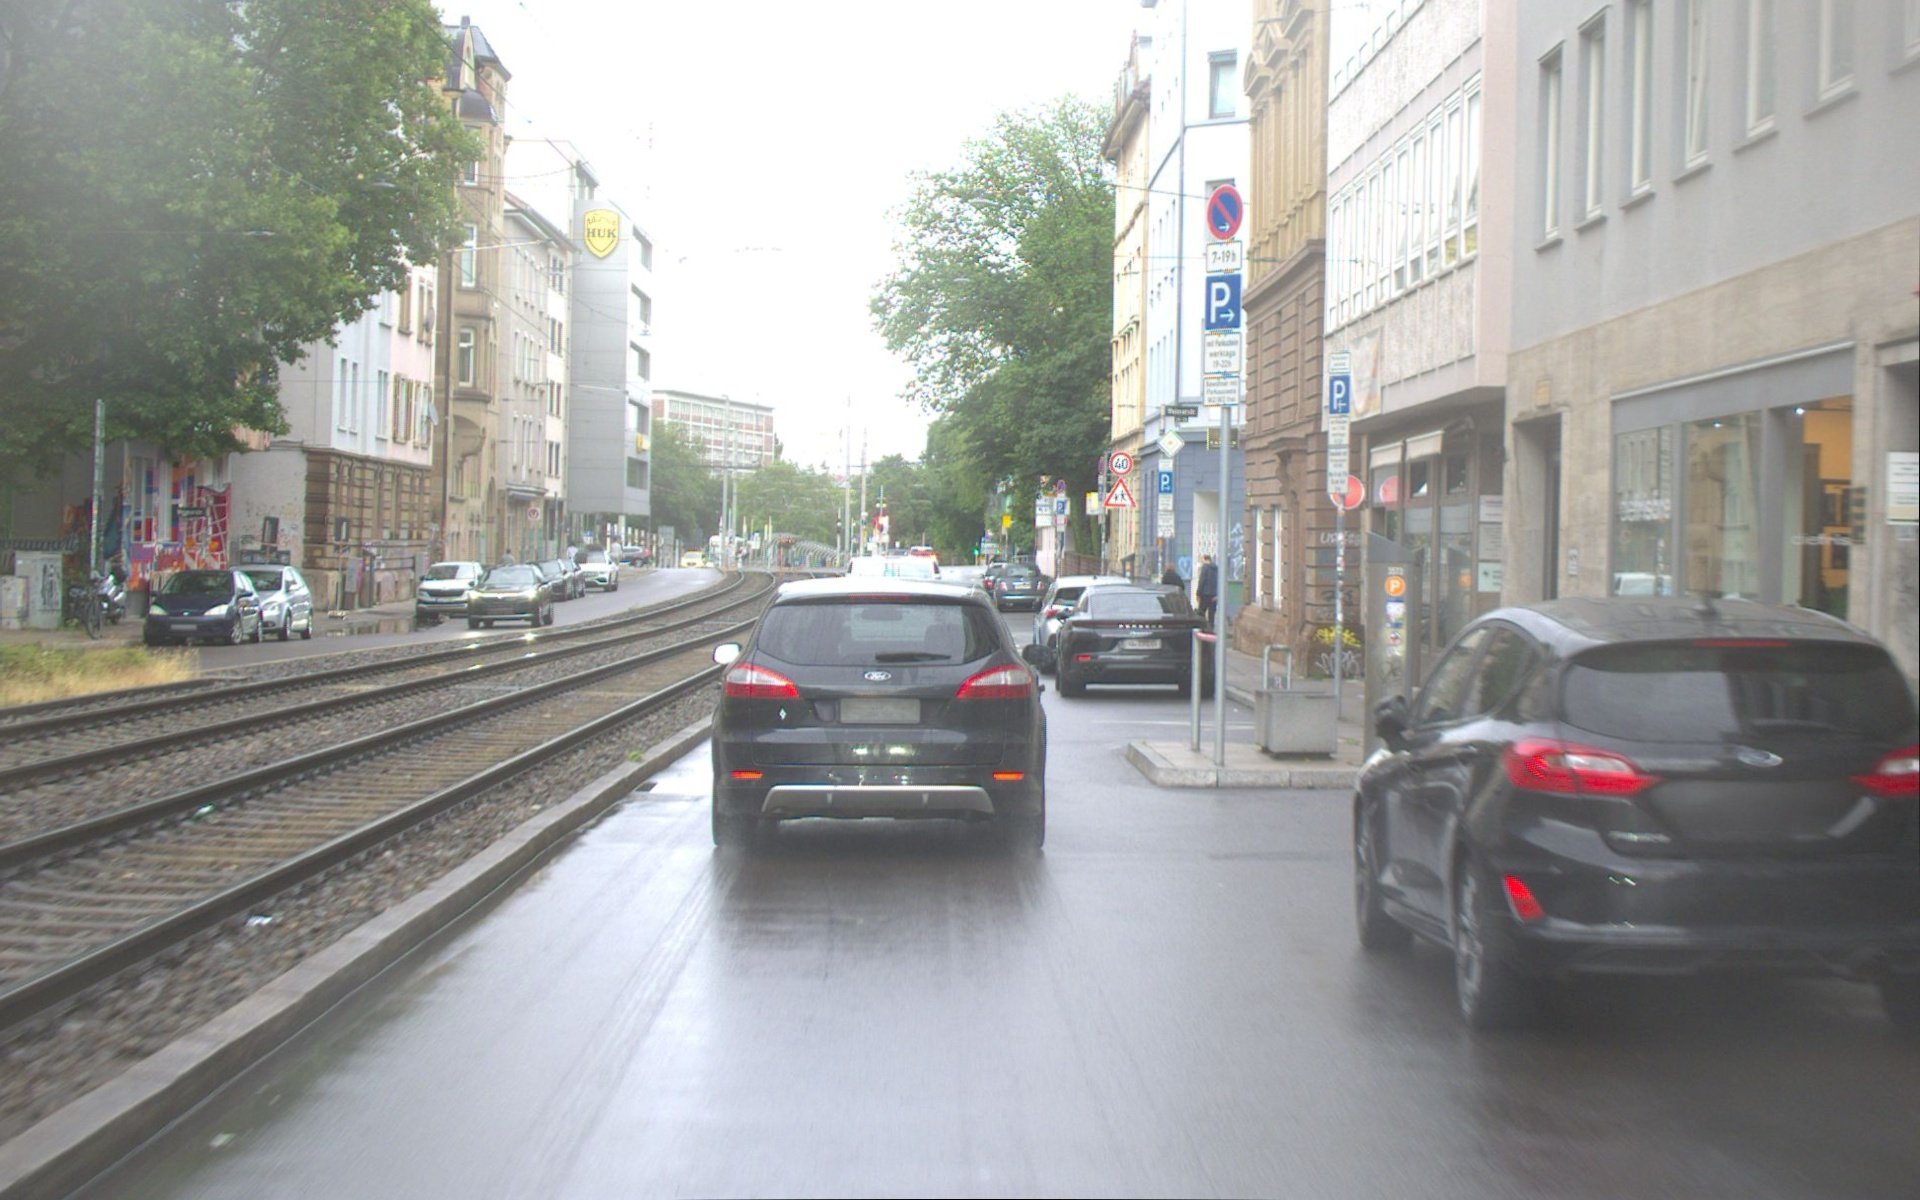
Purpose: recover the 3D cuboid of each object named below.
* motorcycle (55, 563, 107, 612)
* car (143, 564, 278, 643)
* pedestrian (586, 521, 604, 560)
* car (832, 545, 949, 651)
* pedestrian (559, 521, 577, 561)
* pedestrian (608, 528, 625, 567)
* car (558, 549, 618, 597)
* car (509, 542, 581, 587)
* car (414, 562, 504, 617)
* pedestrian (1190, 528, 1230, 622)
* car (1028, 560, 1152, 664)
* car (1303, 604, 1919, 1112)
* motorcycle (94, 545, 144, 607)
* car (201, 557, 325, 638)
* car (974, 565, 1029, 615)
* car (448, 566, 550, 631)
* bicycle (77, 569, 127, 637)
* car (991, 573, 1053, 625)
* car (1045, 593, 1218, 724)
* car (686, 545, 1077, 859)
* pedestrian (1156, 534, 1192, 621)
[{"bbox_3d":[-19.110,-0.279,74.794,0.639,1.029,2.120,2,1,-2],"label":"motorcycle"},{"bbox_3d":[-14.518,0.042,66.758,1.744,1.464,4.220,0,1,-1],"label":"car"},{"bbox_3d":[-17.197,-2.804,162.085,0.744,1.847,0.839,1,0,-1],"label":"pedestrian"},{"bbox_3d":[-1.209,-0.041,61.445,1.993,1.810,4.271,1,0,0],"label":"car"},{"bbox_3d":[-18.452,-2.763,161.976,0.744,1.847,0.839,1,0,-1],"label":"pedestrian"},{"bbox_3d":[-16.776,-2.566,168.090,0.744,1.847,0.839,1,0,-1],"label":"pedestrian"},{"bbox_3d":[-15.037,-1.100,139.172,1.993,1.833,5.071,2,1,-2],"label":"car"},{"bbox_3d":[-14.711,-1.272,122.070,1.993,1.514,4.676,2,1,-1],"label":"car"},{"bbox_3d":[-14.586,-0.325,100.235,1.993,1.514,4.435,2,1,-1],"label":"car"},{"bbox_3d":[5.388,-0.542,74.148,0.736,2.007,0.821,1,1,-1],"label":"pedestrian"},{"bbox_3d":[2.077,0.165,55.813,1.746,1.518,4.355,1,1,-1],"label":"car"},{"bbox_3d":[2.520,0.825,13.049,1.993,1.588,4.271,1,0,0],"label":"car"},{"bbox_3d":[-18.940,-0.546,77.465,0.639,1.374,2.120,2,1,-2],"label":"motorcycle"},{"bbox_3d":[-14.496,-0.075,71.702,1.721,1.565,4.220,2,1,-1],"label":"car"},{"bbox_3d":[1.344,-0.343,112.291,1.642,1.510,4.039,1,1,-1],"label":"car"},{"bbox_3d":[-11.687,-0.061,87.341,1.993,1.514,4.444,2,1,-1],"label":"car"},{"bbox_3d":[-15.939,0.050,63.917,0.590,1.222,2.404,2,0,-8],"label":"bicycle"},{"bbox_3d":[1.923,-0.047,107.606,1.738,1.484,4.001,1,1,-1],"label":"car"},{"bbox_3d":[2.169,0.721,44.567,1.993,1.588,4.572,1,0,0],"label":"car"},{"bbox_3d":[-0.404,0.522,19.795,1.993,1.588,4.271,1,0,0],"label":"car"},{"bbox_3d":[4.607,-0.482,74.163,0.662,1.845,0.821,1,1,-1],"label":"pedestrian"}]
